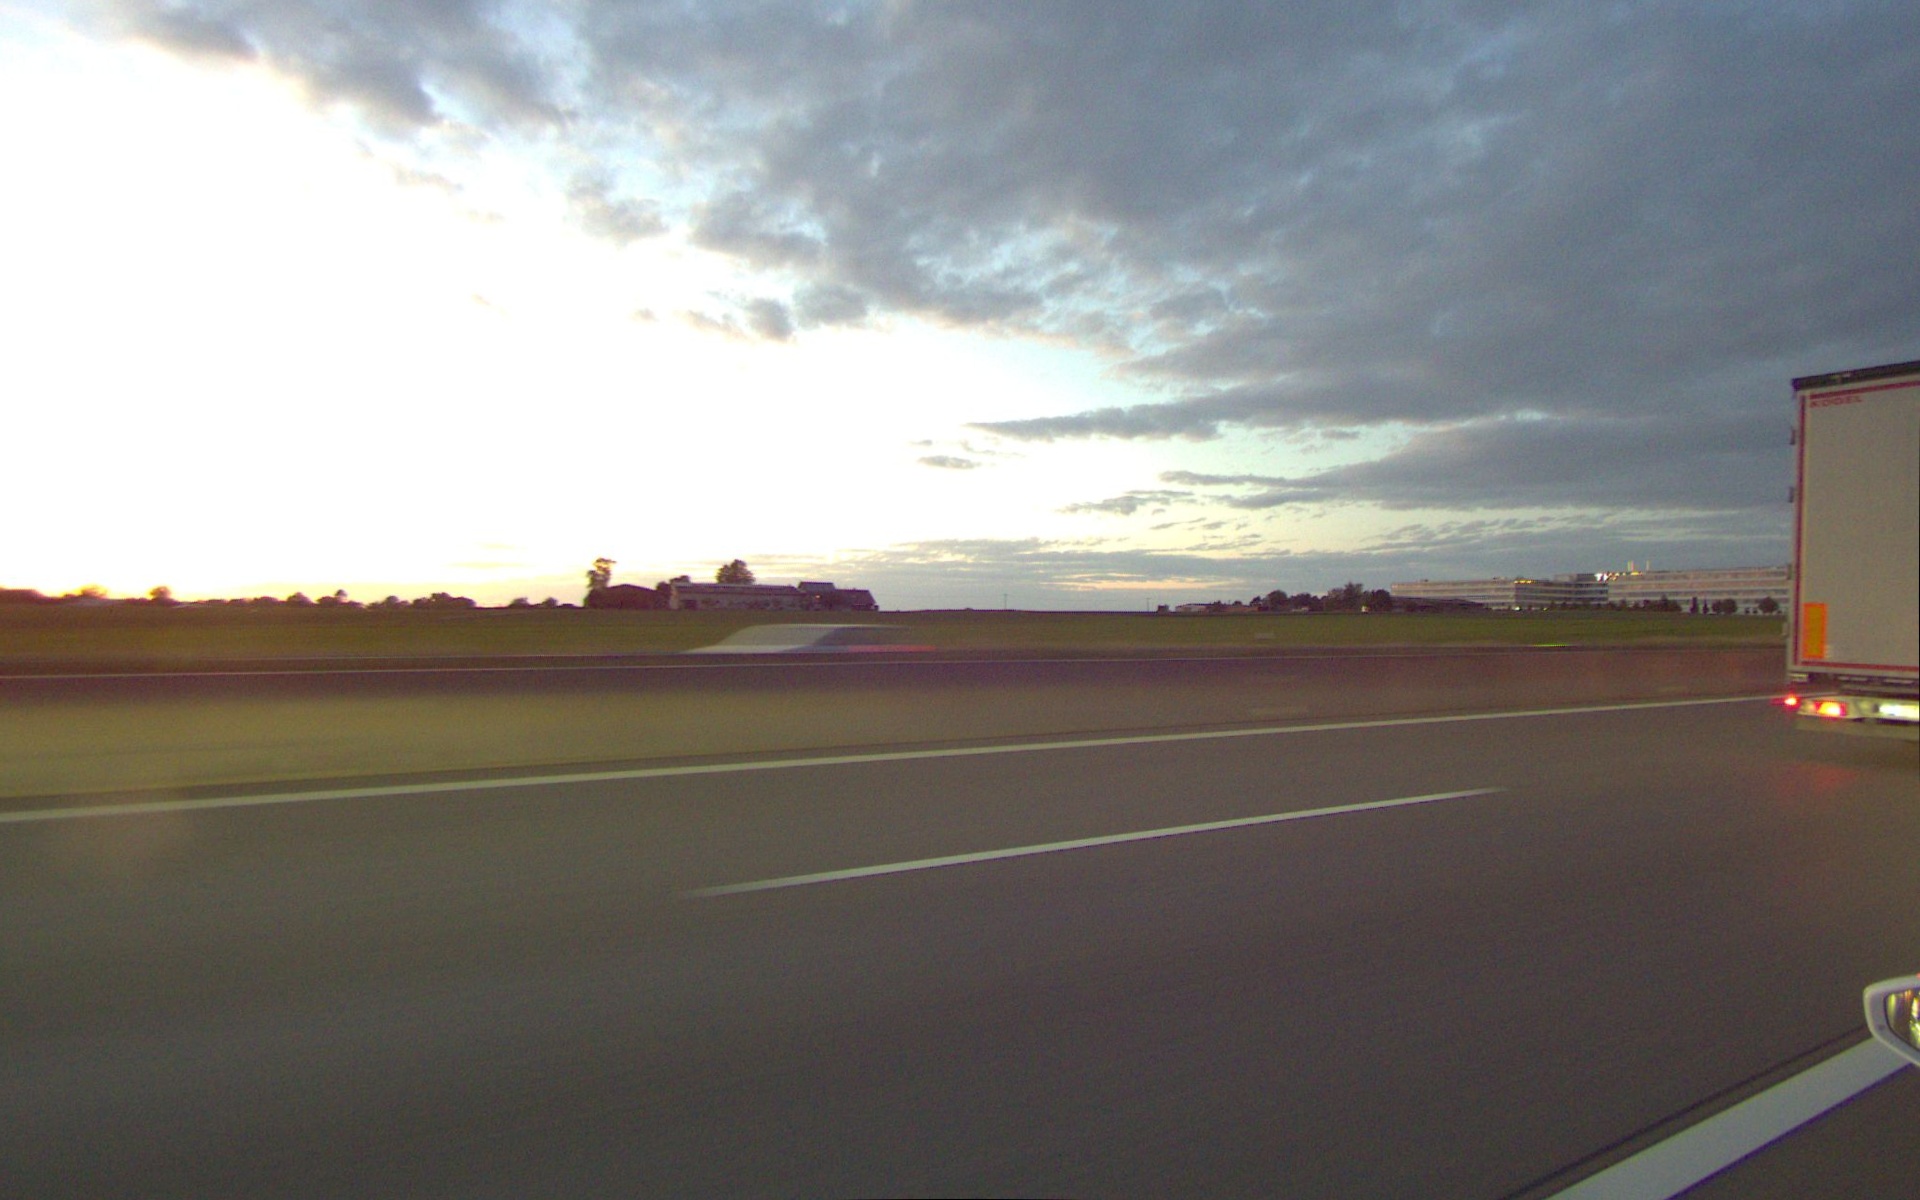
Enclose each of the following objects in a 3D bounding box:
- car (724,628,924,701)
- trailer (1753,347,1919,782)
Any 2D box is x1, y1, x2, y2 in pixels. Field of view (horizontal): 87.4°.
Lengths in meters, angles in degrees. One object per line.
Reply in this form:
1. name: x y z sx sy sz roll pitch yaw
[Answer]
1. car: -3.233 1.506 24.127 4.467 1.555 1.650 2 0 -30
2. trailer: 15.410 -0.139 13.041 14.350 4.139 2.782 2 -1 -29
